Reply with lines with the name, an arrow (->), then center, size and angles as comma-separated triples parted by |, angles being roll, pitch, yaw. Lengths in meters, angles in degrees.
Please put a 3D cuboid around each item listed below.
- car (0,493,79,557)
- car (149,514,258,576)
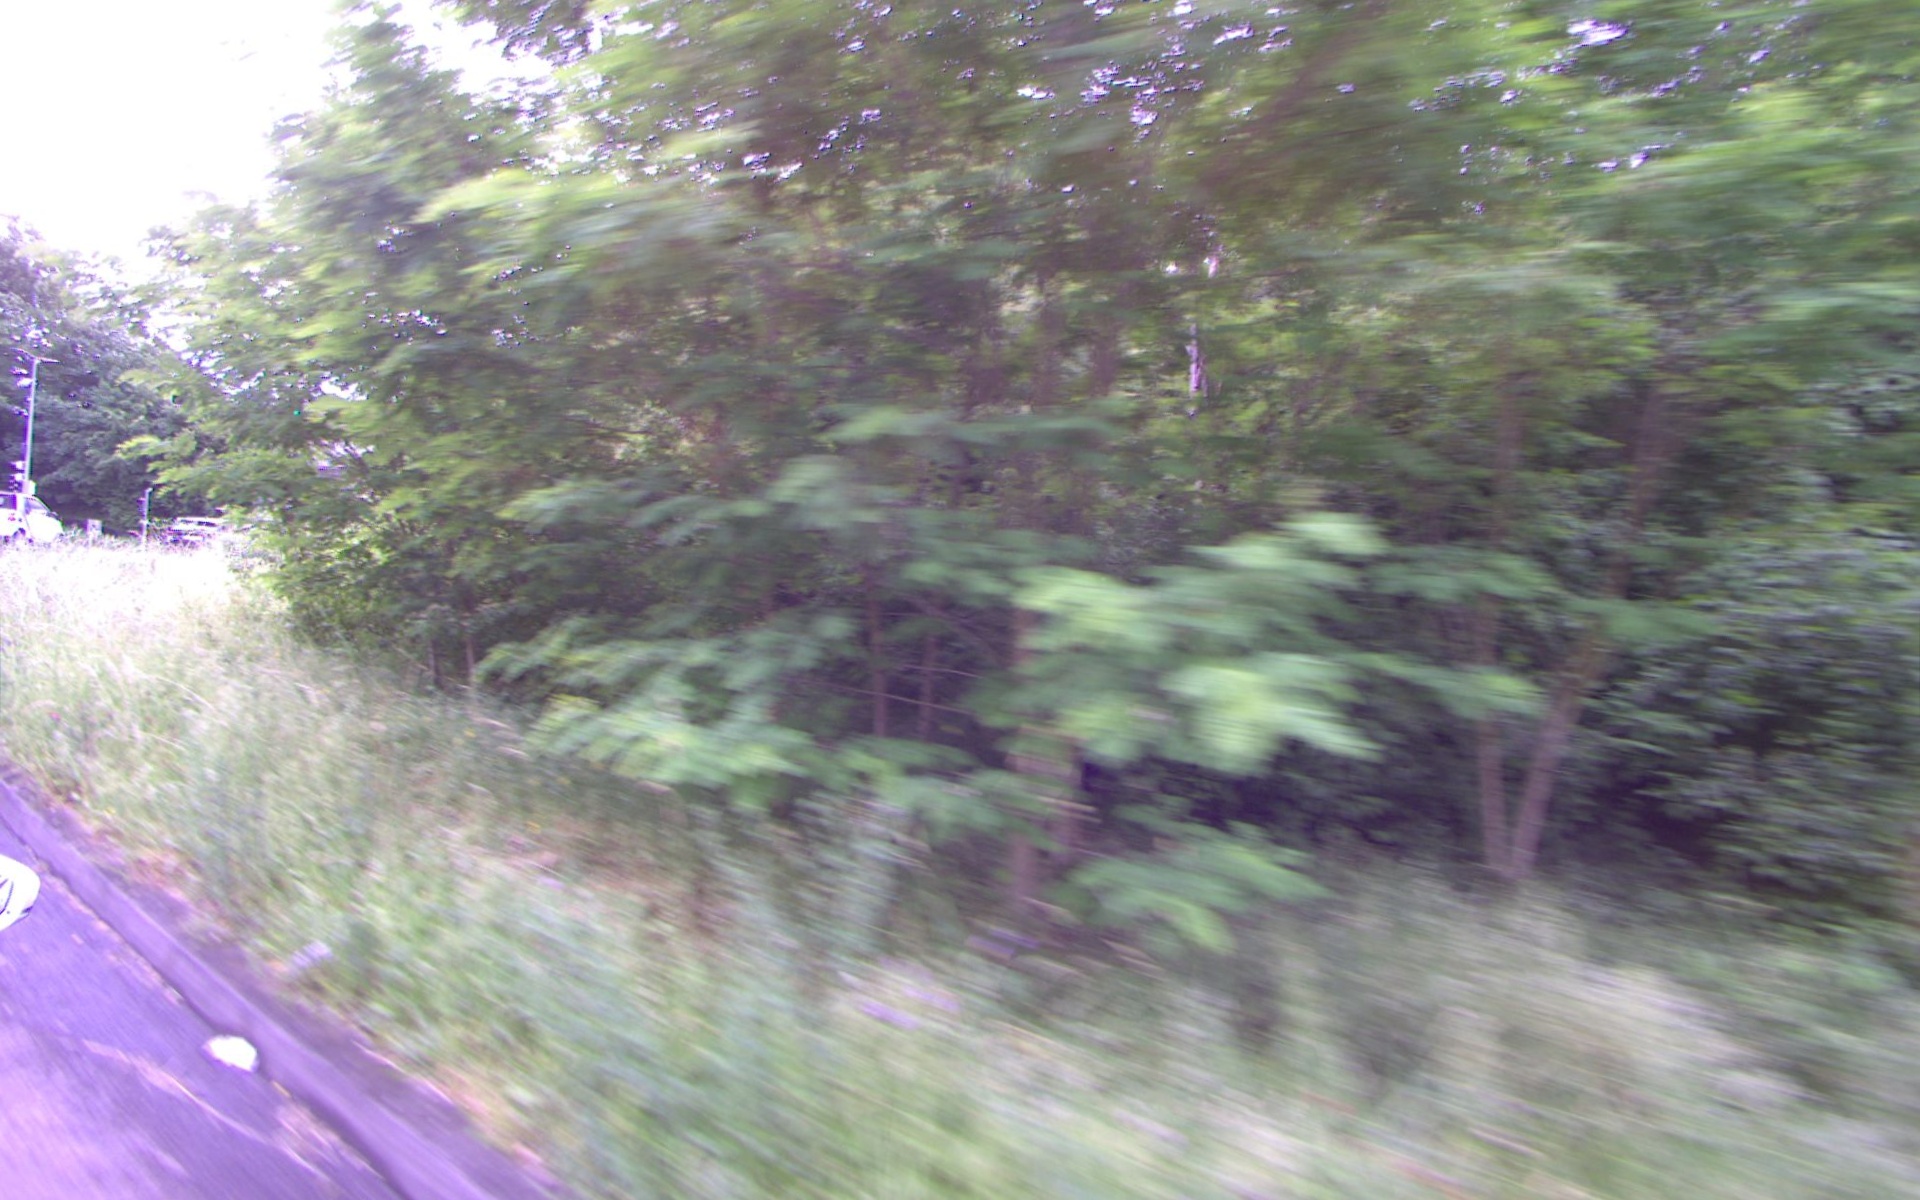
car -> -26.384, -2.139, 27.952 | 1.557, 1.575, 3.008 | 8, -1, -16
car -> -23.049, -1.639, 30.811 | 1.885, 1.483, 3.973 | 8, -2, -28
